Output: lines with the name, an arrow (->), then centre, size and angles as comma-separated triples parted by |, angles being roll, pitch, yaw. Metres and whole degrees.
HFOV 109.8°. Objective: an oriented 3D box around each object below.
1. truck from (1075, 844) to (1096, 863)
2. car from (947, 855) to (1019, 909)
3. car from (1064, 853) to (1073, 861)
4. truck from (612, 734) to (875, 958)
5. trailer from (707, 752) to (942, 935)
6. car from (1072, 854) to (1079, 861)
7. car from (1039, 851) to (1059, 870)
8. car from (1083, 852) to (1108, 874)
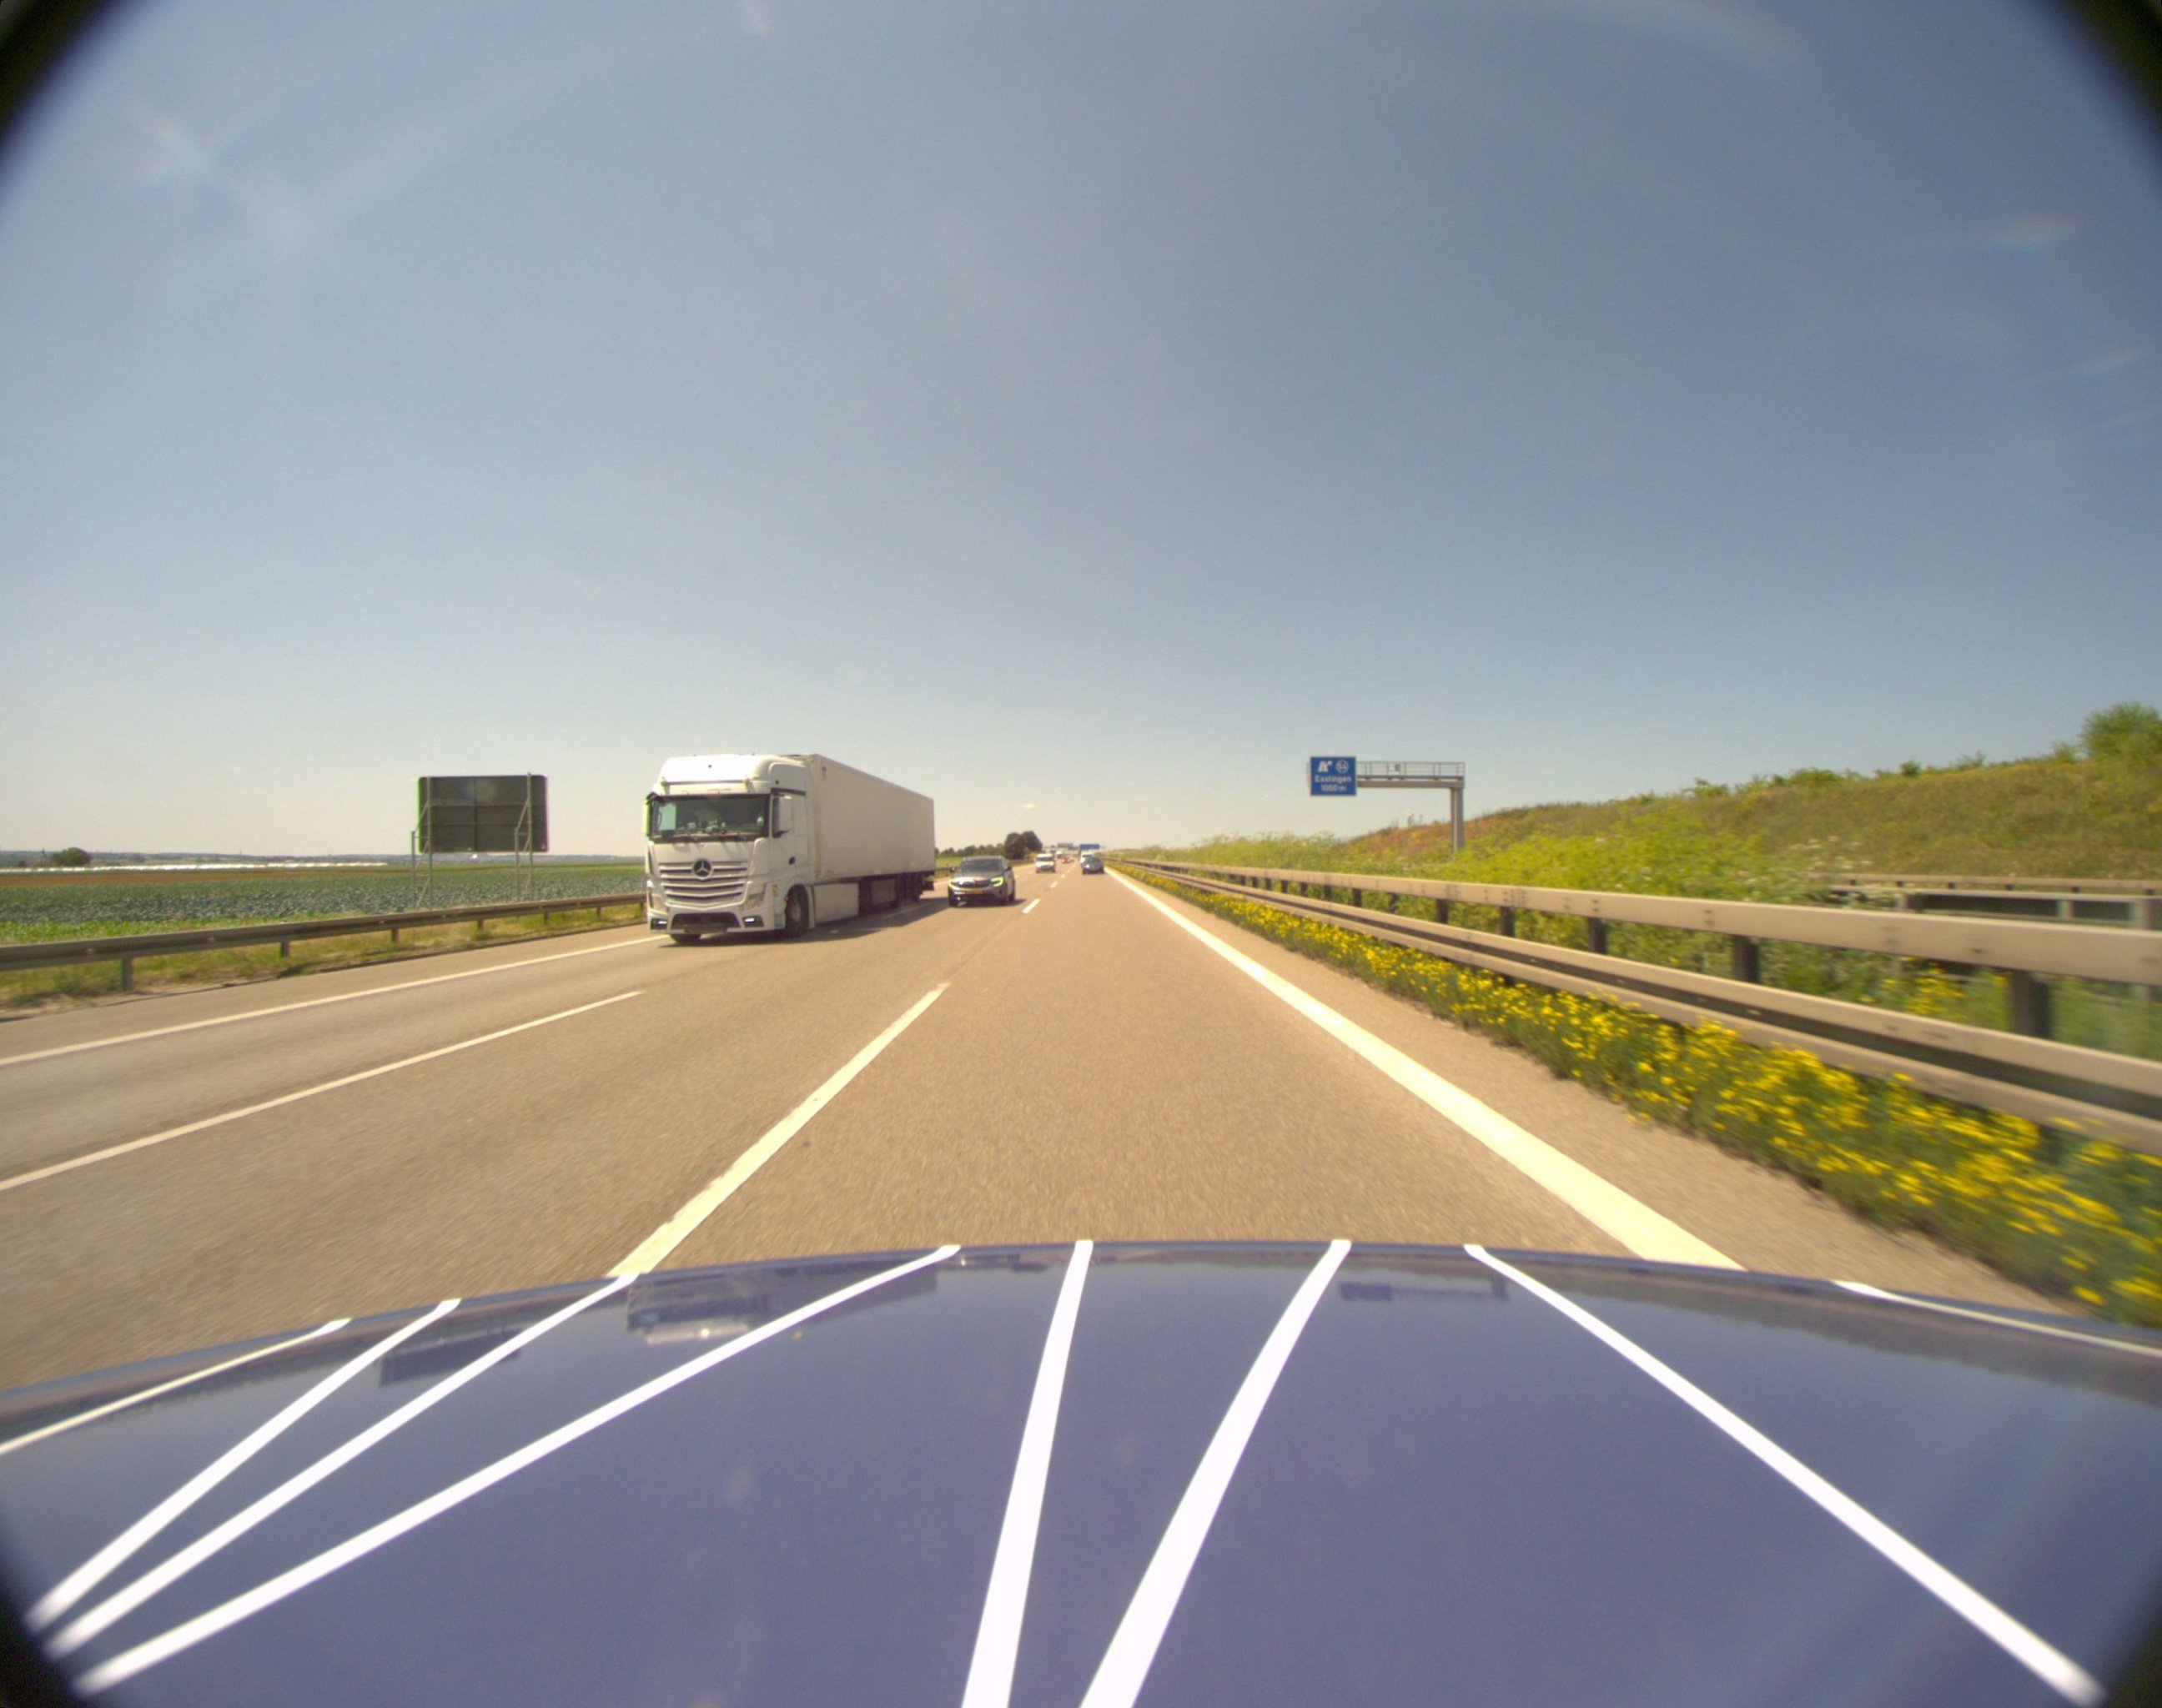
truck -> 0.545, -0.031, 101.817 | 2.334, 2.378, 6.685 | -2, 1, -2
car -> -3.222, 0.875, 25.825 | 1.856, 1.639, 4.644 | -1, 0, -1
car -> -2.579, 0.544, 157.973 | 1.723, 1.514, 3.581 | -2, 1, 1
truck -> -7.224, -0.172, 17.621 | 2.870, 4.068, 6.878 | -2, 1, 0
trailer -> -7.210, -0.295, 24.443 | 2.875, 4.195, 13.292 | -2, 1, 0
car -> -1.376, 0.849, 191.670 | 1.724, 1.514, 3.581 | -2, 1, -2
car -> -3.169, 0.631, 74.802 | 1.812, 1.836, 5.311 | -2, 0, -2
car -> 1.087, 0.691, 59.324 | 1.715, 1.586, 4.546 | 0, 0, -2
